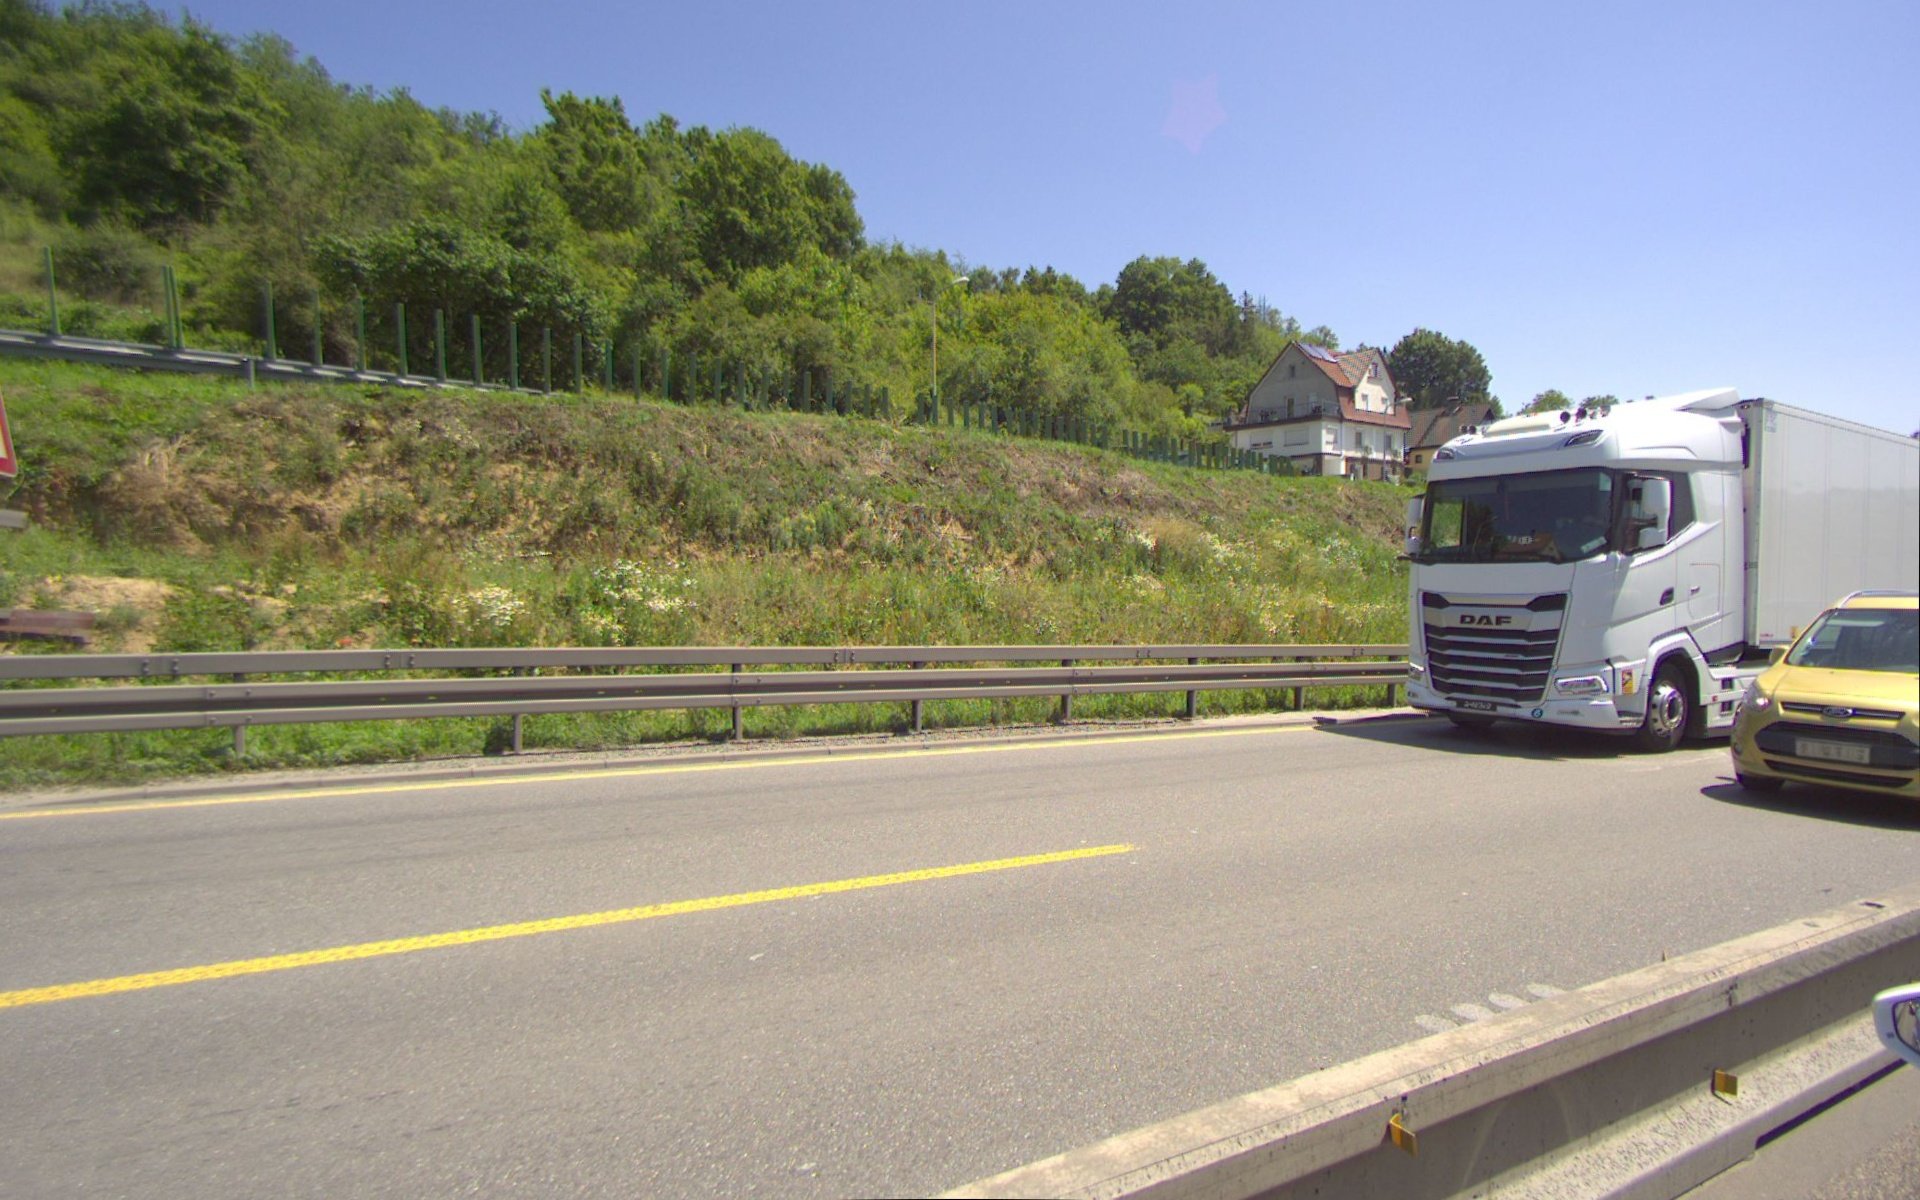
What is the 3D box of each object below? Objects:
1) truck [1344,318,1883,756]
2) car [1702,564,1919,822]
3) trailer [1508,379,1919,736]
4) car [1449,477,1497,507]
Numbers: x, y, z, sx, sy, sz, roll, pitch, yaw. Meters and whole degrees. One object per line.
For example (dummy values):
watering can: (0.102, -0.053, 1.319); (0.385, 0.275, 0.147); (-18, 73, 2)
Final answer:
truck: (8.435, -0.536, 12.859); (6.410, 4.294, 3.164); (2, 0, -31)
car: (8.522, 0.698, 8.712); (4.382, 1.845, 1.767); (1, 1, -31)
trailer: (14.512, -0.394, 16.635); (13.252, 4.214, 3.204); (1, 0, -31)
car: (30.854, -6.483, 60.395); (1.707, 1.417, 3.783); (4, 2, 40)
